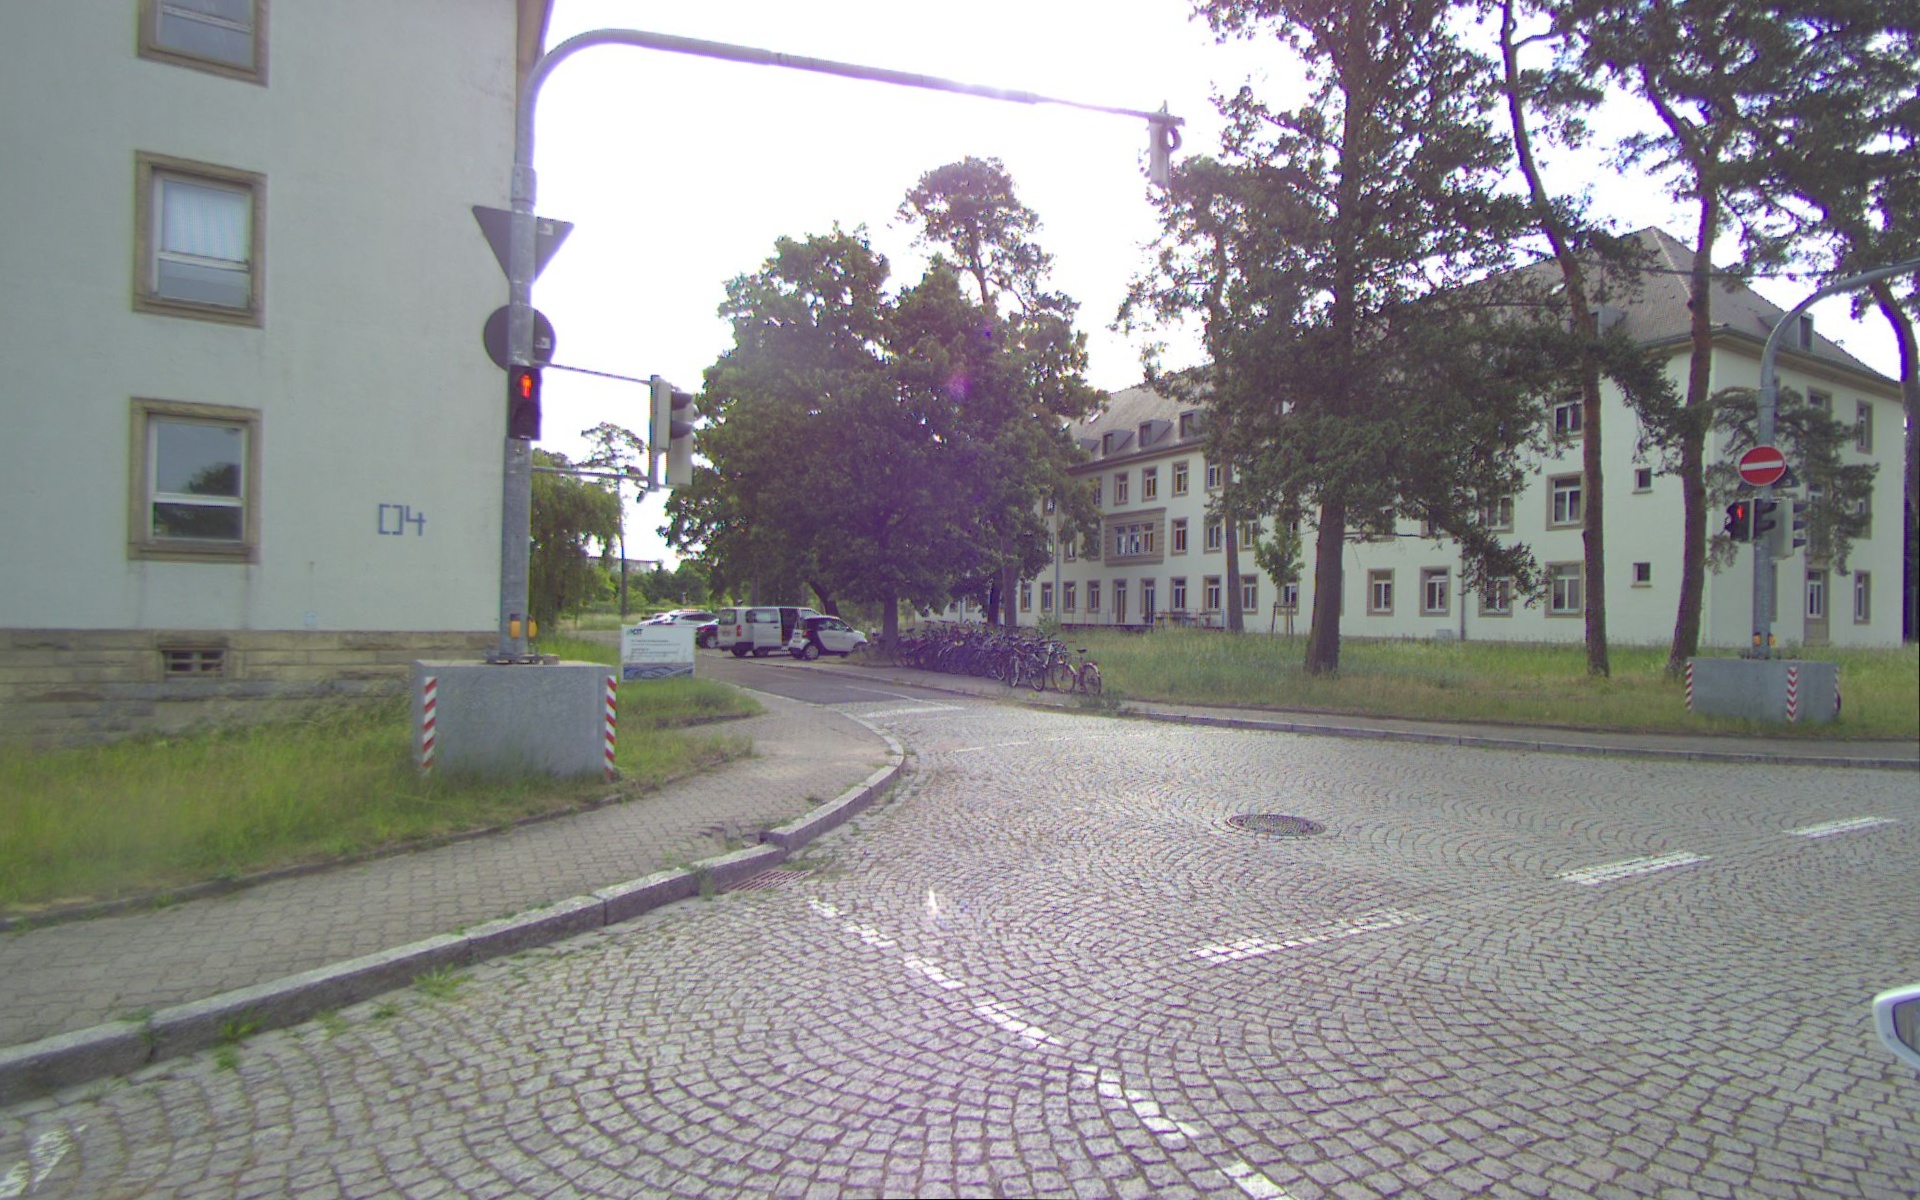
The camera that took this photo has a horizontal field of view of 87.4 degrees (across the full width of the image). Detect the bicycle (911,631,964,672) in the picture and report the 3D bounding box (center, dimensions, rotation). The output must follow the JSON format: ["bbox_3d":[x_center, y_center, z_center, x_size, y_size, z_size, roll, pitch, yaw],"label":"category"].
[{"bbox_3d":[-0.620,1.435,27.998,1.442,1.052,0.493,-2,1,-34],"label":"bicycle"}]

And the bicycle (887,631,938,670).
[{"bbox_3d":[-1.376,1.462,29.308,1.442,1.052,0.493,-2,1,-34],"label":"bicycle"}]

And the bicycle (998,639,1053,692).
[{"bbox_3d":[1.389,1.393,21.637,0.492,1.052,1.406,-2,1,-29],"label":"bicycle"}]

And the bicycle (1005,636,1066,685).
[{"bbox_3d":[1.758,1.397,23.428,1.443,1.052,0.492,-2,1,-37],"label":"bicycle"}]

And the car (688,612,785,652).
[{"bbox_3d":[-10.441,1.485,47.019,4.055,1.743,1.840,2,0,-37],"label":"car"}]

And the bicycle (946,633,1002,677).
[{"bbox_3d":[0.373,1.414,26.185,1.442,1.052,0.493,-2,1,-34],"label":"bicycle"}]

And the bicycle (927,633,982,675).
[{"bbox_3d":[-0.145,1.435,26.987,1.442,1.052,0.493,-2,1,-34],"label":"bicycle"}]

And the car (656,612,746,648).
[{"bbox_3d":[-13.308,1.540,51.663,4.055,1.743,1.840,2,0,-37],"label":"car"}]

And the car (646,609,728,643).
[{"bbox_3d":[-15.431,1.482,56.834,4.055,1.790,1.811,2,0,-37],"label":"car"}]

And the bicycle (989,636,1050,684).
[{"bbox_3d":[1.436,1.417,24.153,1.442,1.052,0.493,-2,1,-34],"label":"bicycle"}]

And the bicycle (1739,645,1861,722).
[{"bbox_3d":[13.236,1.289,15.856,0.492,1.089,1.404,-2,1,-31],"label":"bicycle"}]

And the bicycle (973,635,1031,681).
[{"bbox_3d":[1.059,1.433,25.118,1.442,1.052,0.493,-2,1,-34],"label":"bicycle"}]

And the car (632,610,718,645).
[{"bbox_3d":[-15.359,1.494,54.149,4.055,1.790,1.811,2,0,-37],"label":"car"}]

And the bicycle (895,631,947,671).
[{"bbox_3d":[-1.104,1.456,28.920,1.442,1.052,0.493,-2,1,-34],"label":"bicycle"}]

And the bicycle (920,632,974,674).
[{"bbox_3d":[-0.354,1.440,27.590,1.442,1.052,0.493,-2,1,-34],"label":"bicycle"}]

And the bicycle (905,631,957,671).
[{"bbox_3d":[-0.817,1.441,28.488,1.442,1.052,0.493,-2,1,-34],"label":"bicycle"}]

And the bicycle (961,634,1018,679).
[{"bbox_3d":[0.758,1.428,25.615,1.442,1.052,0.493,-2,1,-34],"label":"bicycle"}]

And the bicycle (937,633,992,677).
[{"bbox_3d":[0.124,1.445,26.578,1.442,1.052,0.493,-2,1,-34],"label":"bicycle"}]

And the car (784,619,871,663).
[{"bbox_3d":[-4.822,1.459,36.545,2.740,1.435,1.579,-1,0,-30],"label":"car"}]

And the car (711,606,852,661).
[{"bbox_3d":[-6.885,1.241,39.188,5.133,1.942,2.011,-1,0,-43],"label":"car"}]

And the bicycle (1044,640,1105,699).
[{"bbox_3d":[2.307,1.390,20.326,0.492,1.089,1.406,-2,1,-29],"label":"bicycle"}]
